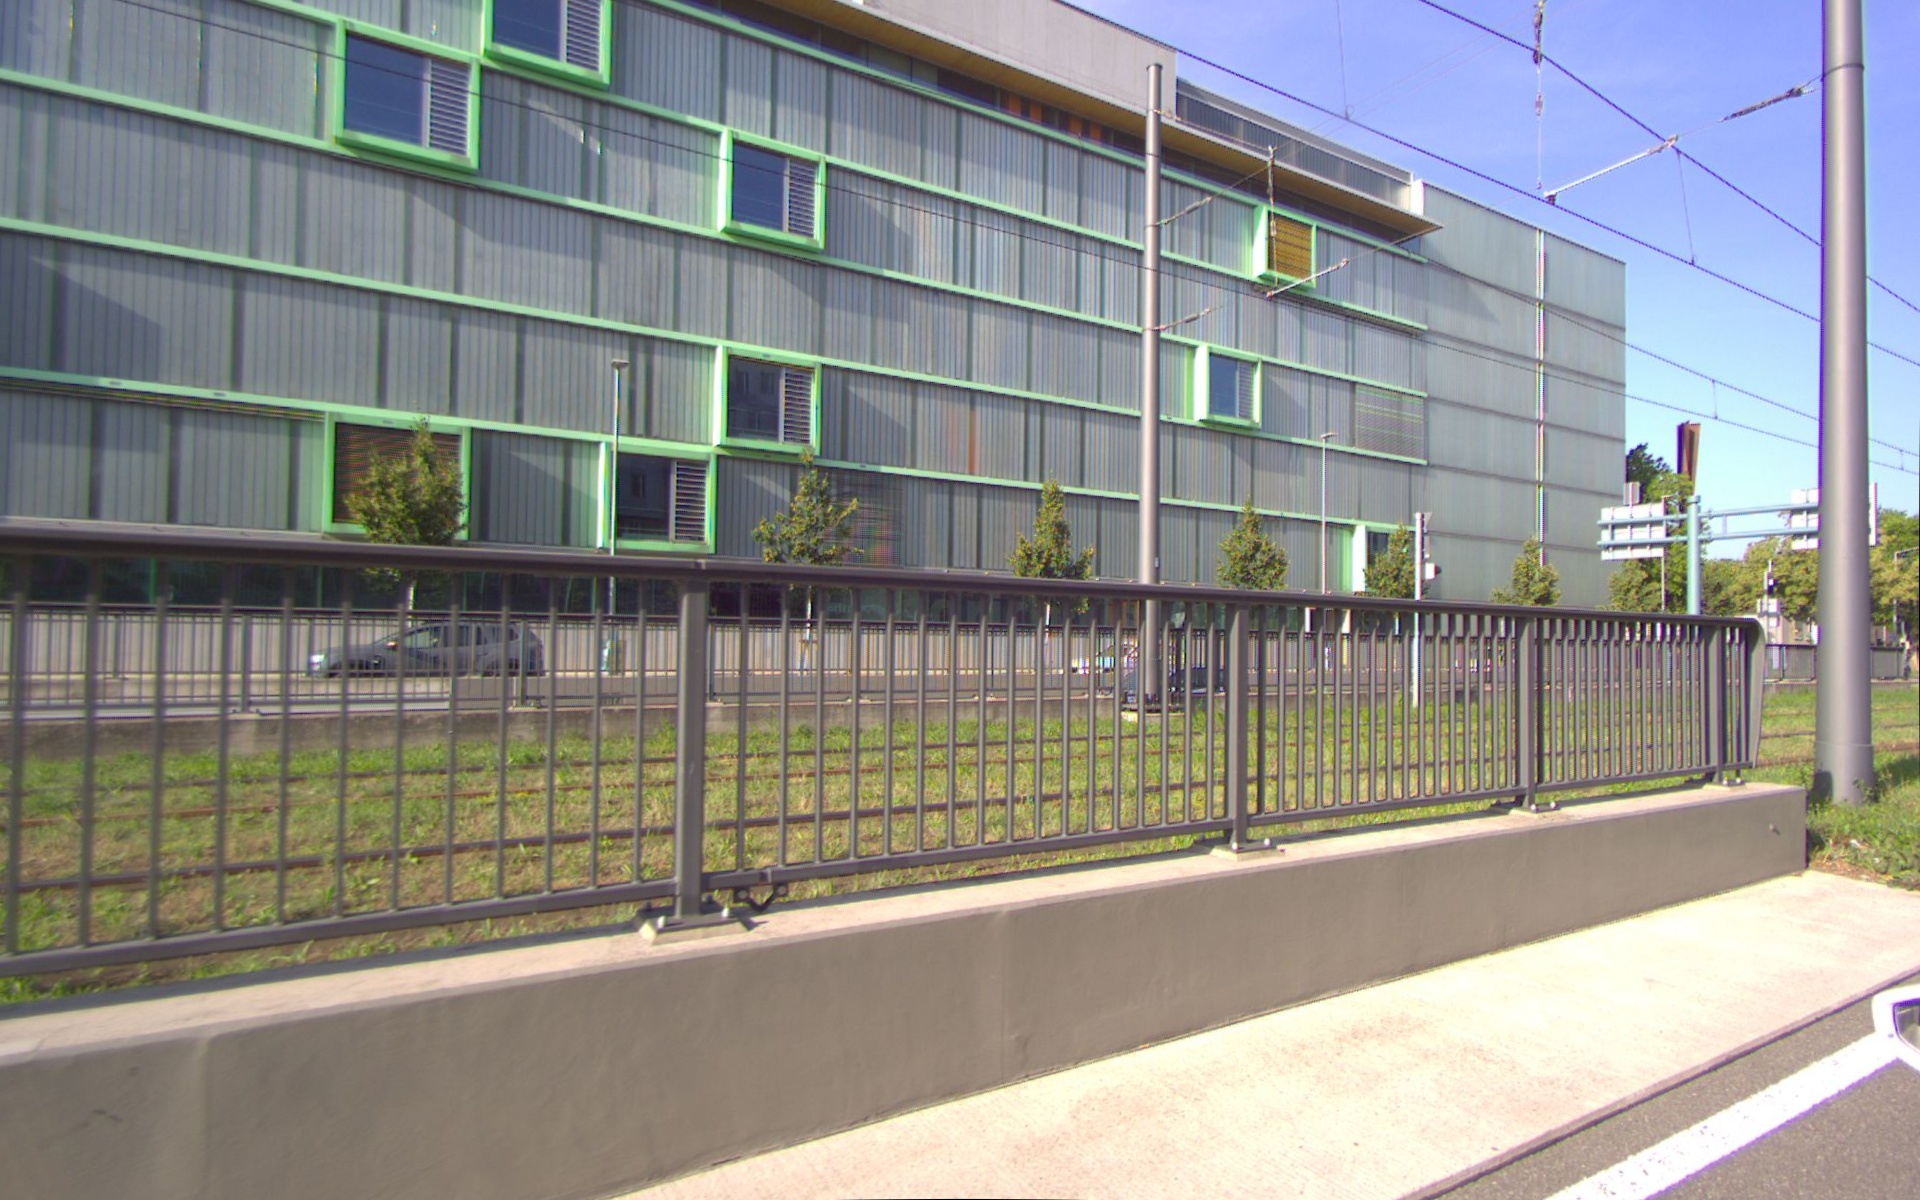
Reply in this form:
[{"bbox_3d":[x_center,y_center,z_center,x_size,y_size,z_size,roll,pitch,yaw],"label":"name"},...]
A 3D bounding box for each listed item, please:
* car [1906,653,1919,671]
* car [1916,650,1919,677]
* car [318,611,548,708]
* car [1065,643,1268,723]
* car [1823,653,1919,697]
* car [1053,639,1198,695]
[{"bbox_3d":[98.167,6.295,101.913,3.947,1.773,1.876,2,-3,-26],"label":"car"},{"bbox_3d":[64.187,4.136,65.183,4.673,1.709,1.983,2,-2,-31],"label":"car"},{"bbox_3d":[-10.413,1.144,20.006,3.889,1.772,1.733,1,-2,-30],"label":"car"},{"bbox_3d":[4.170,1.602,20.118,3.955,1.441,1.652,2,-2,-31],"label":"car"},{"bbox_3d":[38.113,3.078,41.832,4.673,1.709,1.983,2,-2,-31],"label":"car"},{"bbox_3d":[4.839,1.892,29.213,3.981,1.506,1.762,1,-2,-30],"label":"car"}]
